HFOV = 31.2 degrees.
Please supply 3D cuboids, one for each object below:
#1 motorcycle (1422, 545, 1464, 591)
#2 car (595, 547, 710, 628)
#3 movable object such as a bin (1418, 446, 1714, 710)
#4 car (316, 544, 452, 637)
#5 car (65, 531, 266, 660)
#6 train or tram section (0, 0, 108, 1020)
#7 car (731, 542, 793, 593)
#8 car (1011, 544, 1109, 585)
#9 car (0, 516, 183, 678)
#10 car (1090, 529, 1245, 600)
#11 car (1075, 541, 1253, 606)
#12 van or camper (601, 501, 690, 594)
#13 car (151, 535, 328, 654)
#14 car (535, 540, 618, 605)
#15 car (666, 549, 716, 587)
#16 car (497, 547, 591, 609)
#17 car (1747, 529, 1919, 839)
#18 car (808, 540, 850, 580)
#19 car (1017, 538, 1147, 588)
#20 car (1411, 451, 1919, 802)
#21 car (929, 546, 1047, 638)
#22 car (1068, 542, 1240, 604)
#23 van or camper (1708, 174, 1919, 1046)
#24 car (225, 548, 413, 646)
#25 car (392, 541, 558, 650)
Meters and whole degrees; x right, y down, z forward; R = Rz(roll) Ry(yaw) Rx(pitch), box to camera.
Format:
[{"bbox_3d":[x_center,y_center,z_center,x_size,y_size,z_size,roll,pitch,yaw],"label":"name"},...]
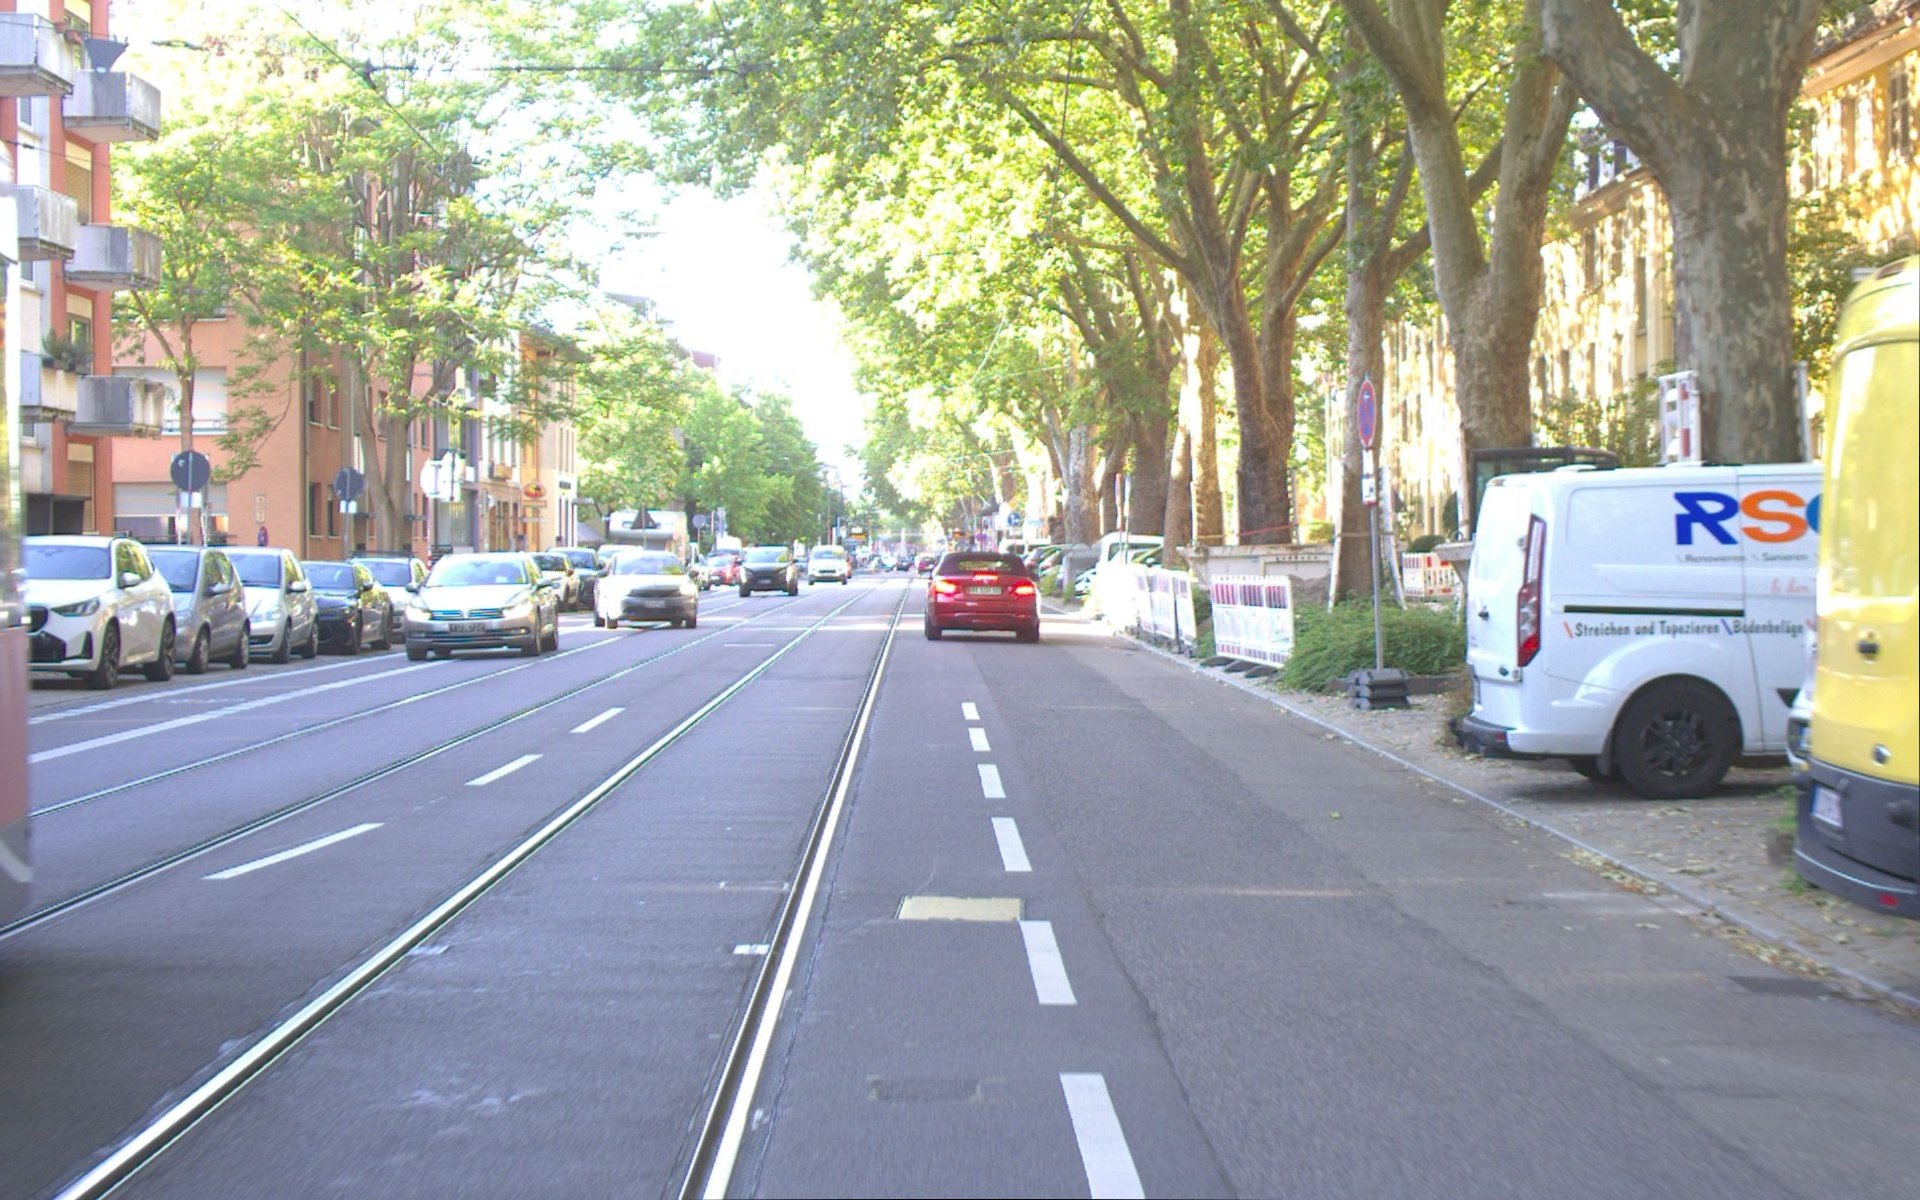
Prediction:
[{"bbox_3d":[12.363,-0.815,88.106,0.715,1.149,2.264,-1,1,-1],"label":"motorcycle"},{"bbox_3d":[-5.788,-0.260,65.080,1.795,1.441,4.053,-1,1,0],"label":"car"},{"bbox_3d":[5.532,-0.219,31.138,1.484,2.261,3.270,0,1,33],"label":"movable object such as a bin"},{"bbox_3d":[-9.859,-0.188,59.086,1.725,1.478,3.930,2,1,-2],"label":"car"},{"bbox_3d":[-10.010,-0.068,43.559,1.626,1.566,3.781,0,0,1],"label":"car"},{"bbox_3d":[-4.390,-0.324,5.057,2.908,3.474,14.199,0,1,-1],"label":"train or tram section"},{"bbox_3d":[-6.591,-1.099,114.765,1.853,1.595,4.464,2,1,-1],"label":"car"},{"bbox_3d":[4.089,-1.479,141.300,3.923,1.664,1.961,0,1,-2],"label":"car"},{"bbox_3d":[-10.033,-0.063,37.817,1.952,1.643,4.882,1,0,-2],"label":"car"},{"bbox_3d":[5.217,-0.890,86.440,3.844,1.766,1.916,0,1,4],"label":"car"},{"bbox_3d":[4.845,-0.629,82.160,4.087,1.516,1.917,0,0,-1],"label":"car"},{"bbox_3d":[-10.907,-1.824,119.667,2.337,3.030,6.397,3,1,0],"label":"van or camper"},{"bbox_3d":[-10.123,-0.111,48.555,1.819,1.581,4.006,1,1,-3],"label":"car"},{"bbox_3d":[-10.318,-0.759,92.654,1.781,1.605,4.588,3,1,-2],"label":"car"},{"bbox_3d":[-11.170,-1.337,142.887,1.836,1.463,5.070,3,1,-3],"label":"car"},{"bbox_3d":[-10.538,-0.570,87.304,1.806,1.473,4.090,2,0,0],"label":"car"},{"bbox_3d":[5.965,0.397,17.923,3.303,1.534,1.698,0,1,-2],"label":"car"},{"bbox_3d":[-6.143,-1.888,161.769,1.891,1.826,4.896,0,1,-1],"label":"car"},{"bbox_3d":[4.317,-1.302,121.199,4.497,1.596,2.027,-2,1,4],"label":"car"},{"bbox_3d":[5.317,0.121,20.973,4.834,2.006,2.064,-1,1,0],"label":"car"},{"bbox_3d":[0.428,-0.154,54.835,1.792,1.384,4.236,1,1,0],"label":"car"},{"bbox_3d":[4.988,-0.702,88.468,4.371,1.537,1.801,0,1,4],"label":"car"},{"bbox_3d":[5.686,0.004,11.386,5.926,2.620,2.270,-1,0,2],"label":"van or camper"},{"bbox_3d":[-9.940,-0.083,53.673,1.952,1.390,4.863,2,1,0],"label":"car"},{"bbox_3d":[-6.855,-0.096,49.032,1.795,1.441,4.717,1,1,-2],"label":"car"}]
